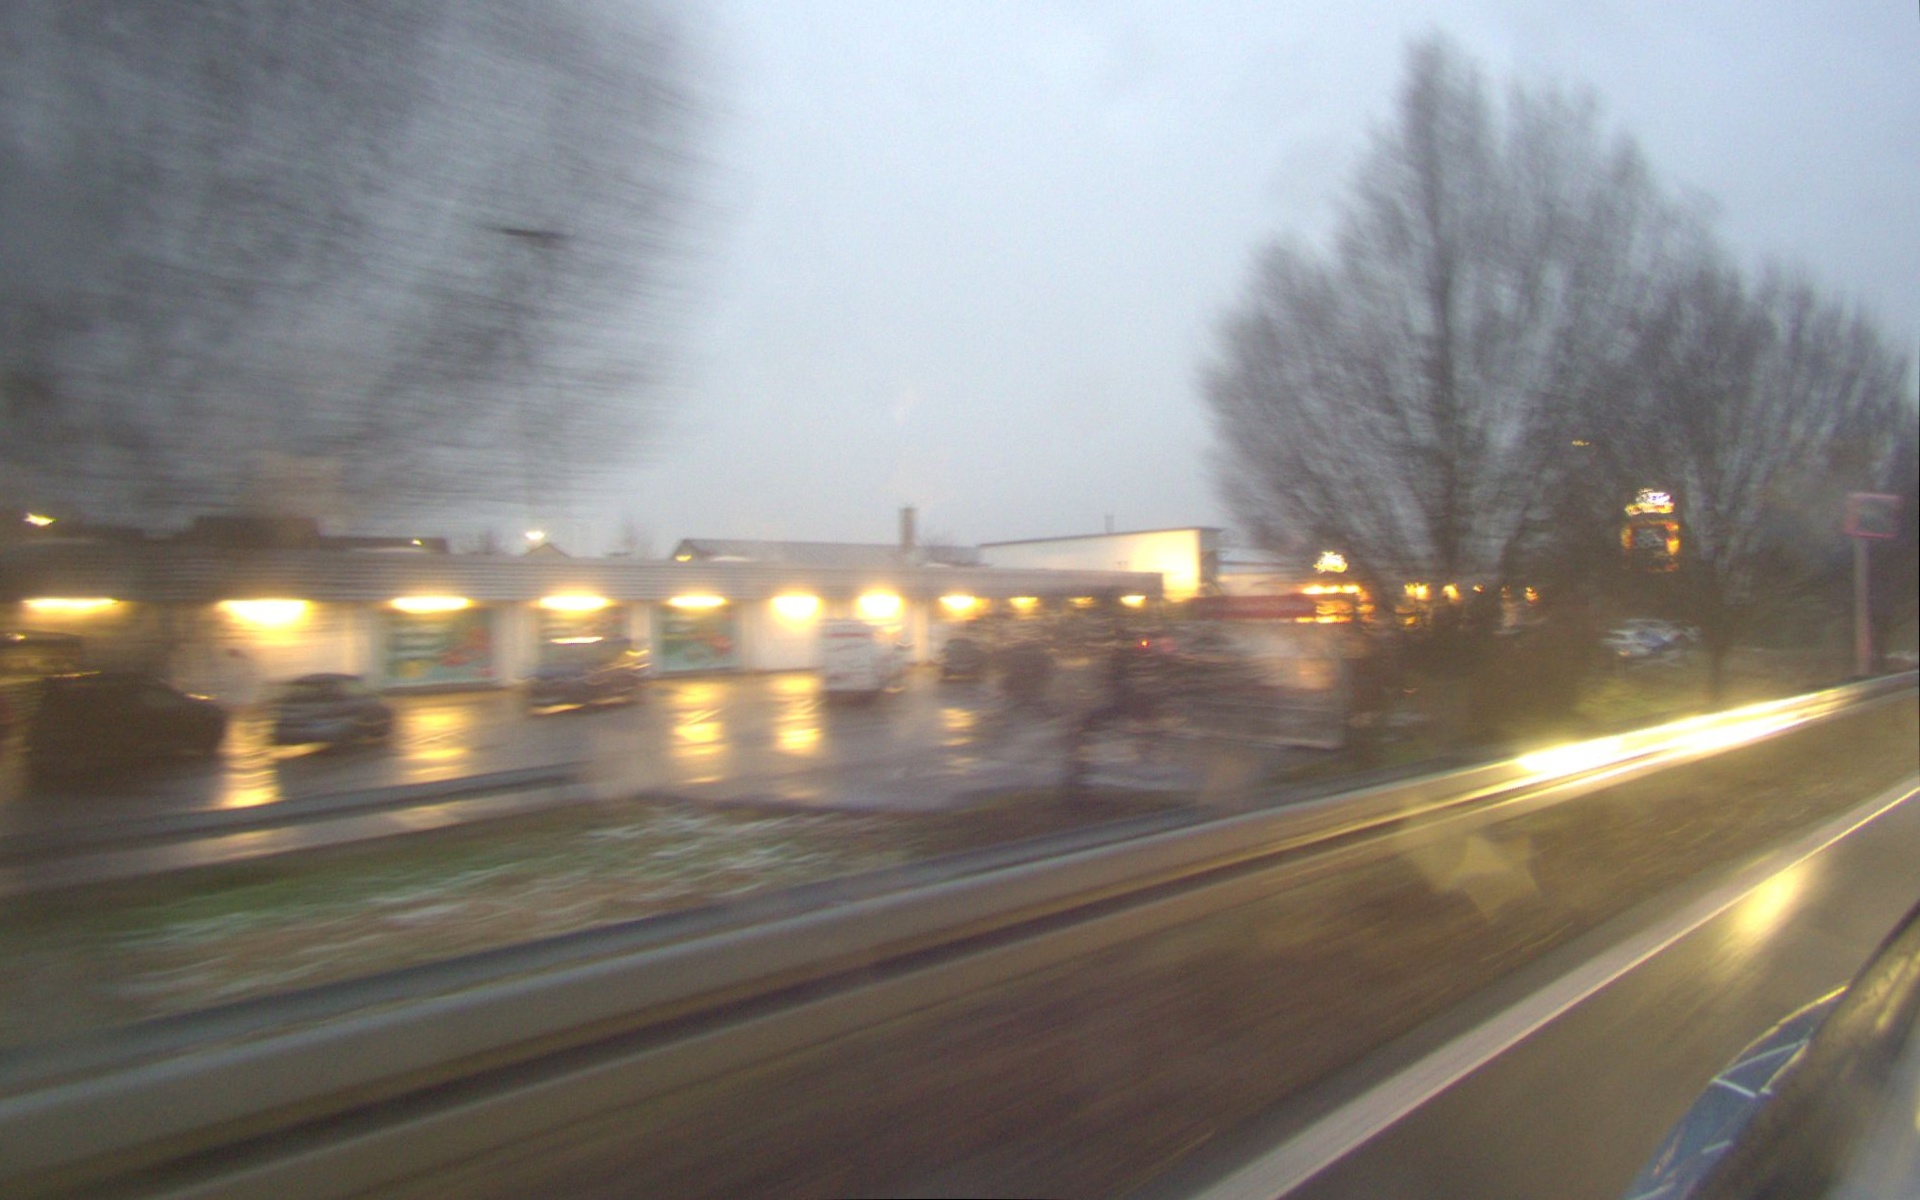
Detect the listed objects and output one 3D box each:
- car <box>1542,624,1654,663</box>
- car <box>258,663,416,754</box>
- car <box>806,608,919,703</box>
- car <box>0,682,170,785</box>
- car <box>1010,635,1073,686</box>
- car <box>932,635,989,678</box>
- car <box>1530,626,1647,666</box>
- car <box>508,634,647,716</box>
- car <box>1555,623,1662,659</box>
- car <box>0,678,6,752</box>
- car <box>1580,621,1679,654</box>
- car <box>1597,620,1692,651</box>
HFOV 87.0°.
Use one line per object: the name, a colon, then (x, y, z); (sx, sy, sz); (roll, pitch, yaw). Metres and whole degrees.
car: (28.450, 1.907, 45.181); (3.997, 1.510, 1.689); (1, 1, 42)
car: (-12.986, 2.204, 21.314); (1.685, 1.536, 3.262); (-1, 0, -9)
car: (-2.849, 1.571, 30.927); (2.243, 2.470, 5.228); (1, 1, 8)
car: (-15.810, 2.284, 17.445); (3.190, 1.555, 1.394); (-1, -1, -10)
car: (2.845, 2.028, 34.766); (1.688, 1.430, 4.000); (1, 1, 12)
car: (0.073, 2.101, 38.585); (1.505, 1.355, 3.576); (1, 1, 12)
car: (26.543, 1.922, 42.826); (3.997, 1.430, 1.689); (1, 1, 42)
car: (-10.599, 2.010, 28.498); (1.853, 1.983, 4.955); (-1, -1, 3)
car: (30.120, 1.858, 47.086); (3.997, 1.450, 1.689); (1, 1, 42)
car: (-20.521, 2.362, 18.835); (1.695, 1.520, 4.024); (0, 0, 2)
car: (33.926, 1.877, 51.309); (3.999, 1.430, 1.689); (1, 1, 42)
car: (36.231, 1.835, 53.638); (3.999, 1.430, 1.689); (1, 1, 42)
